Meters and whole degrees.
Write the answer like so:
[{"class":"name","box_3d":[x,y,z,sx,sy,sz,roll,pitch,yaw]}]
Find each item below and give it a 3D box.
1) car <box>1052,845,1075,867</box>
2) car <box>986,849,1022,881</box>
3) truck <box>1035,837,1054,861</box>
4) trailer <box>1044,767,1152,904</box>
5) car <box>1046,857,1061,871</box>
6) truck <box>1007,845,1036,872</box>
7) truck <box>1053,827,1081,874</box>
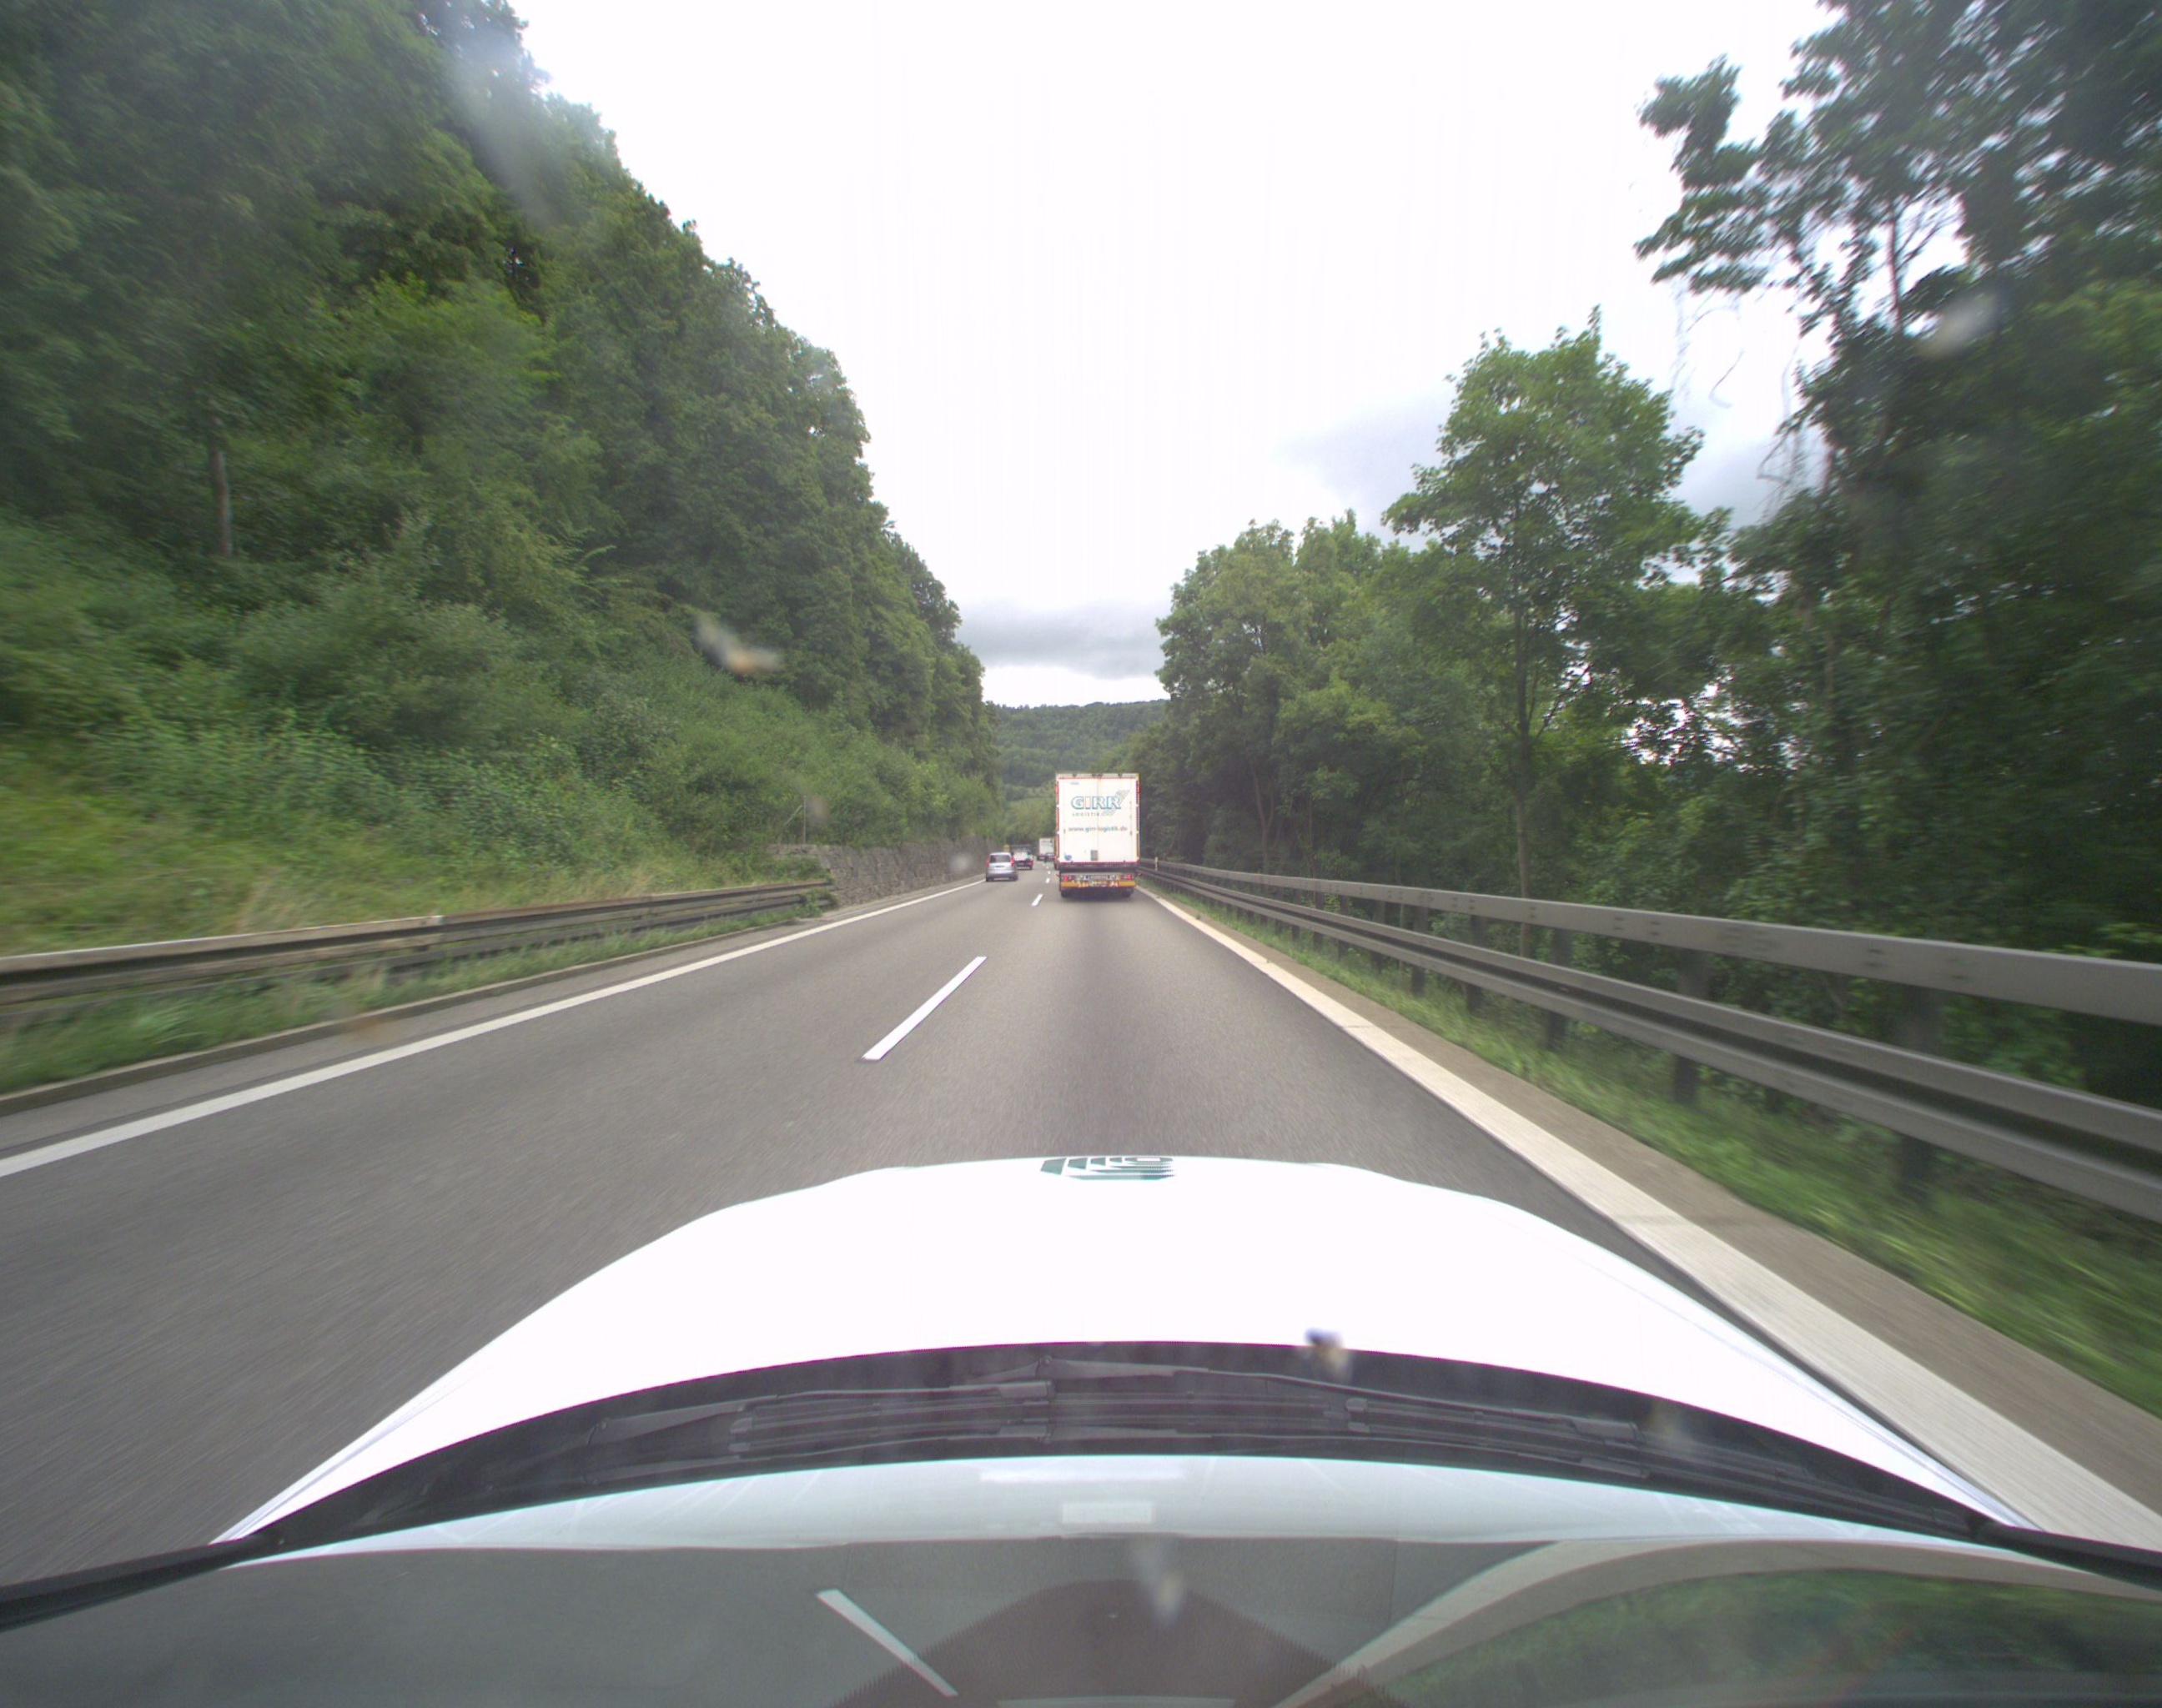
[{"class":"car","box_3d":[-1.706,0.212,78.726,1.989,2.014,4.327,1,-1,-3]},{"class":"car","box_3d":[-4.343,0.599,46.235,1.629,1.726,4.344,0,0,0]},{"class":"truck","box_3d":[-6.292,-0.830,140.792,3.062,3.877,8.446,1,-1,-4]},{"class":"trailer","box_3d":[0.497,-0.572,29.474,3.123,4.042,9.436,2,0,-1]},{"class":"car","box_3d":[-3.917,1.405,116.474,1.989,2.014,3.994,1,-1,-4]},{"class":"truck","box_3d":[-5.320,0.373,73.723,2.343,2.274,6.842,1,0,-3]},{"class":"truck","box_3d":[-1.261,-0.229,70.180,2.228,3.804,6.817,1,-1,-2]}]
